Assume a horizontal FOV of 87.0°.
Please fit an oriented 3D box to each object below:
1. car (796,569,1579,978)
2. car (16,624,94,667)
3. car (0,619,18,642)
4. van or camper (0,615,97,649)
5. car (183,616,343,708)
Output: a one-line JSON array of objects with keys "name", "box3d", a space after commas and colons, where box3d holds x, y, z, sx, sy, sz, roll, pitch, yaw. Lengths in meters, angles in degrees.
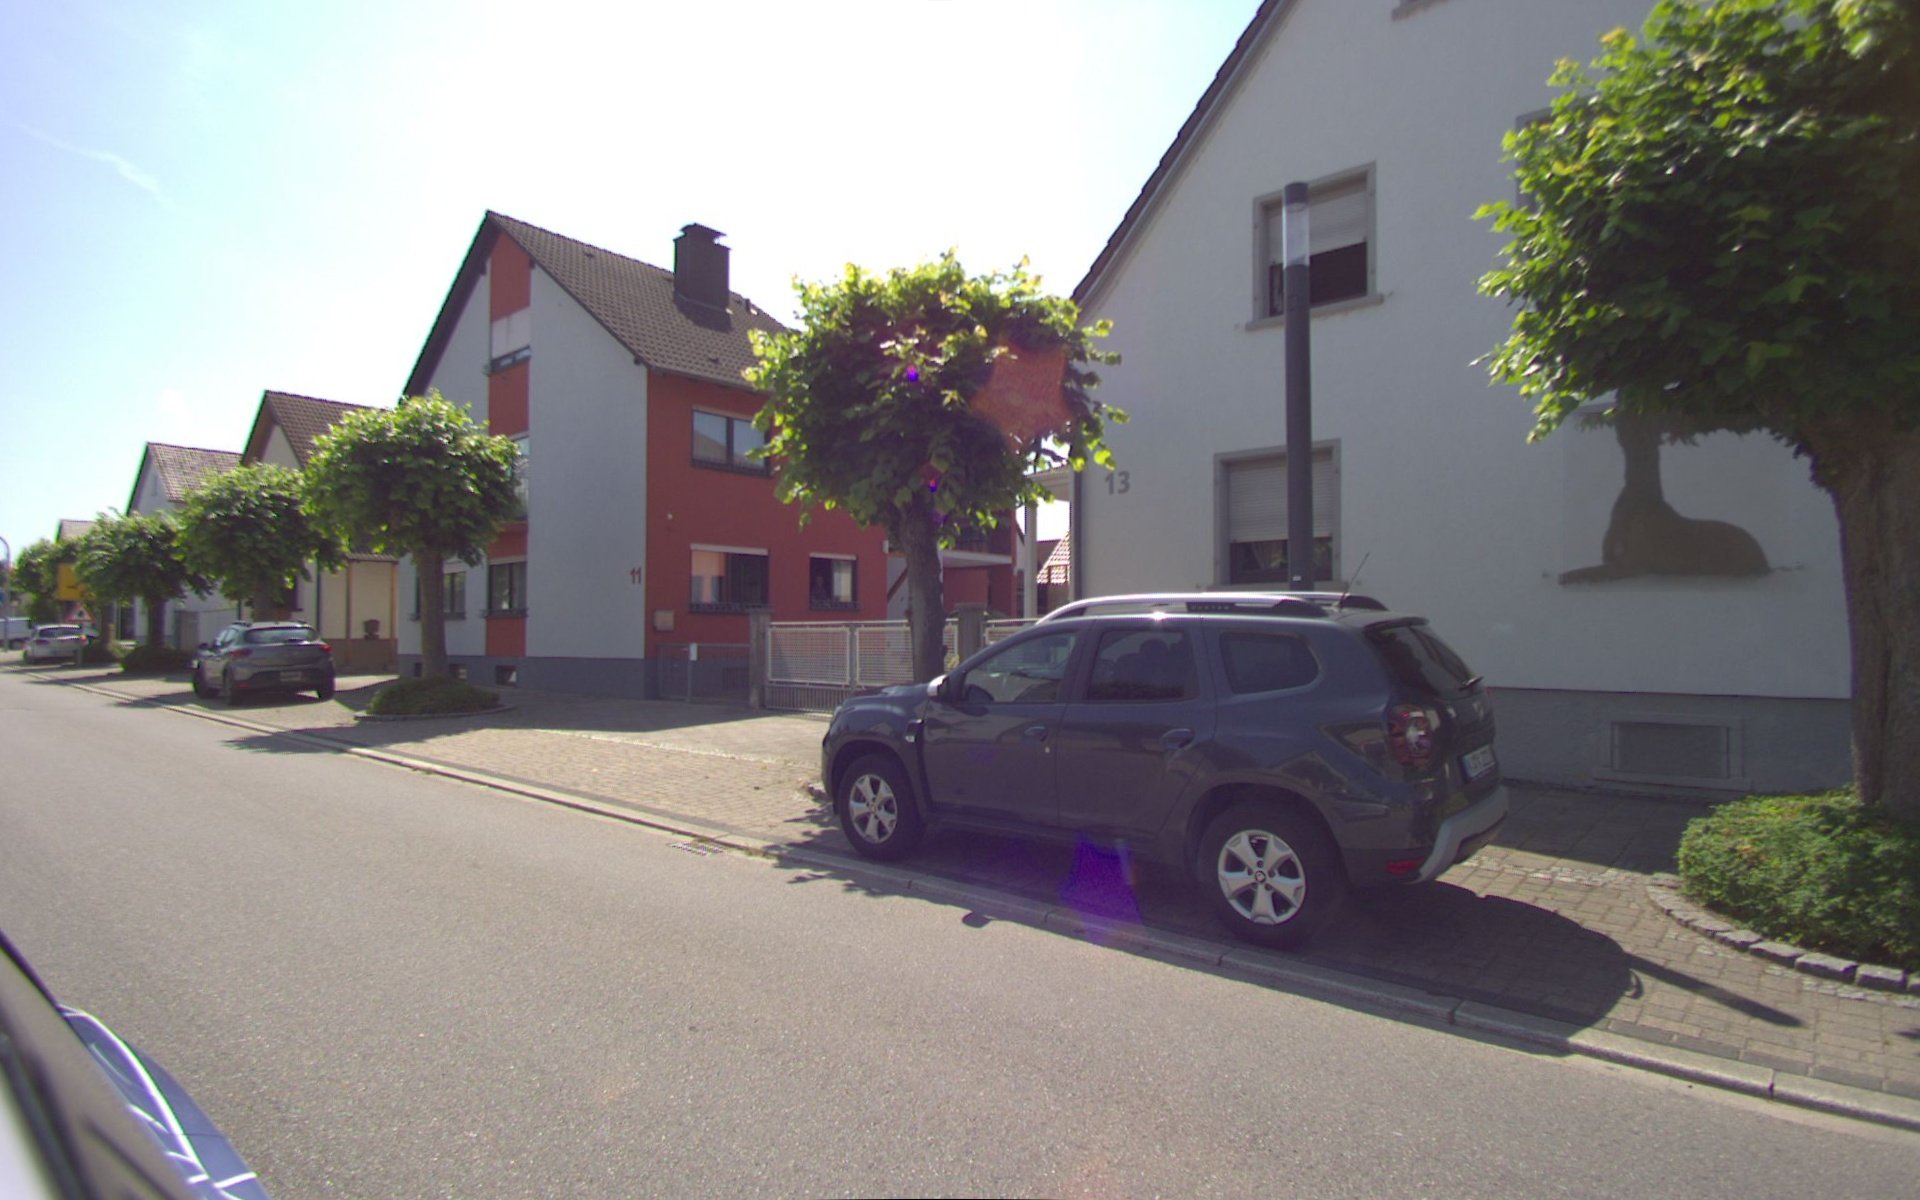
[{"name": "car", "box3d": [1.109, 0.746, 6.199, 4.297, 1.649, 1.833, -2, -1, 41]}, {"name": "car", "box3d": [-35.147, 1.725, 39.268, 4.131, 1.494, 1.805, -1, 0, 42]}, {"name": "car", "box3d": [-72.932, 2.308, 75.064, 1.941, 1.732, 4.202, -1, 0, 35]}, {"name": "van or camper", "box3d": [-54.170, 1.884, 59.706, 1.999, 1.876, 4.692, -2, -1, 40]}, {"name": "car", "box3d": [-14.127, 1.171, 20.423, 4.135, 1.625, 1.832, -1, 0, 43]}]
